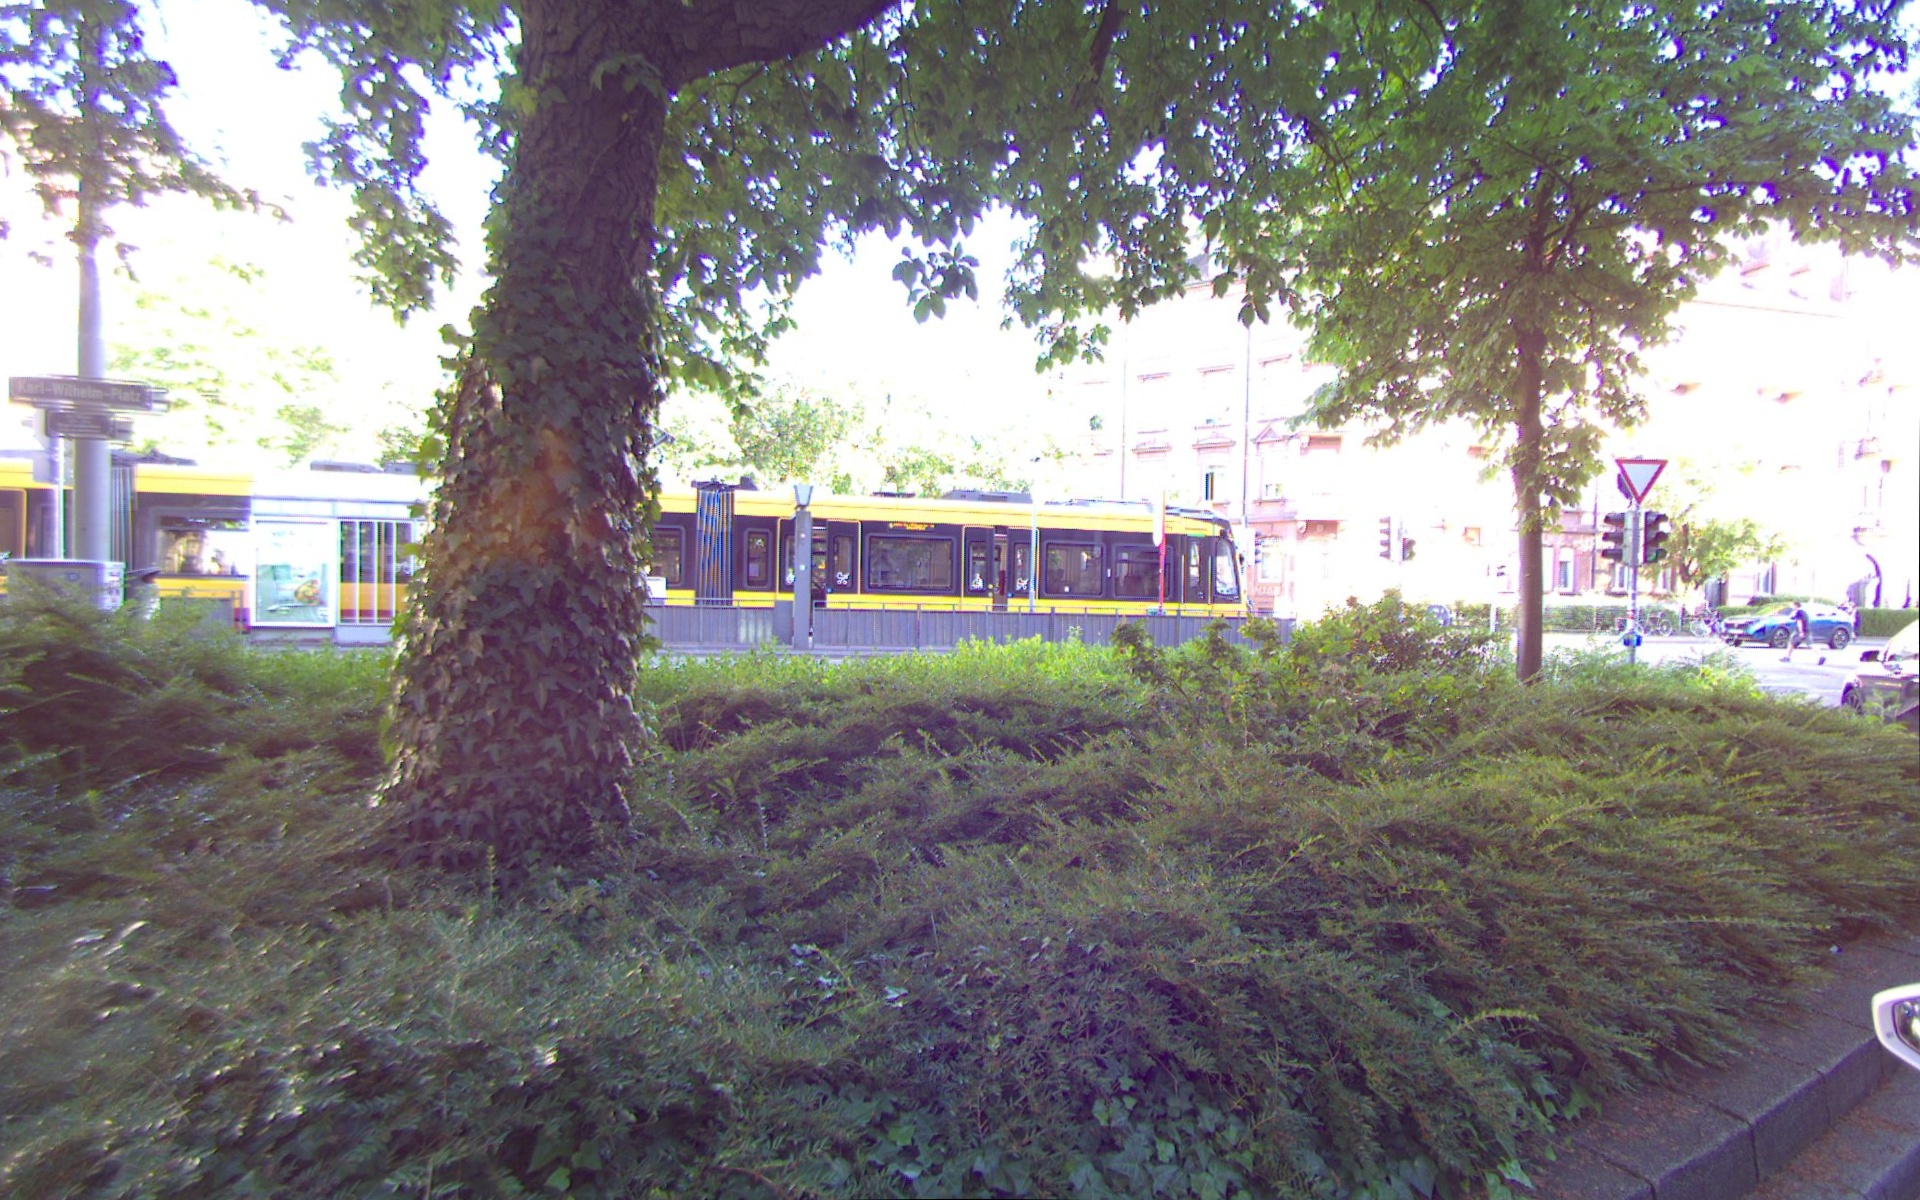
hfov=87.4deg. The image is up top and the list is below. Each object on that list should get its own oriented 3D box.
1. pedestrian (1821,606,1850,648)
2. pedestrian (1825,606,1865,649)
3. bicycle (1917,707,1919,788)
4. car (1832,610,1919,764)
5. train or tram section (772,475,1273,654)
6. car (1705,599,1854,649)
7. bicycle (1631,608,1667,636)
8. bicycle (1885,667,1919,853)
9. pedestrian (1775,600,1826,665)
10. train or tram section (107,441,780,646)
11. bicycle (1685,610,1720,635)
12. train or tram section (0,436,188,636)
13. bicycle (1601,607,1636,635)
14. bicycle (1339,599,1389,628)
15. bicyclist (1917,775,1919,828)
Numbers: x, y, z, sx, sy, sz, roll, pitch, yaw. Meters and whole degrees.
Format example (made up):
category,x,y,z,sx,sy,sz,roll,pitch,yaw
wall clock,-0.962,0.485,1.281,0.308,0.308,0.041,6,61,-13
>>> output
category,x,y,z,sx,sy,sz,roll,pitch,yaw
pedestrian,37.052,1.148,42.514,0.624,1.738,0.664,1,1,1
pedestrian,36.775,1.126,41.742,0.880,1.688,0.712,1,4,5
bicycle,8.145,1.044,7.765,0.799,1.200,2.218,2,1,37
car,10.882,0.890,10.492,1.762,1.562,3.855,0,0,27
train or tram section,1.474,-0.715,24.063,11.598,3.668,2.793,1,1,-13
car,29.940,0.878,36.735,4.333,1.672,1.944,1,1,-12
bicycle,29.062,0.937,42.368,1.210,1.122,0.442,1,2,-7
bicycle,6.067,1.011,5.453,0.705,1.122,1.967,2,1,16
pedestrian,22.510,0.852,26.907,0.720,1.657,0.893,-1,4,-44
train or tram section,-10.116,-1.012,21.332,12.206,3.635,2.779,1,1,-13
bicycle,31.592,0.955,42.757,1.211,1.052,0.442,1,2,-8
train or tram section,-22.136,-1.312,18.508,12.463,3.605,2.766,1,1,-13
bicycle,27.671,0.869,42.224,1.210,1.122,0.442,1,2,-7
bicycle,17.582,0.567,43.726,1.928,1.122,0.443,3,2,22
bicyclist,5.919,0.566,5.390,0.695,1.594,0.957,2,1,14
